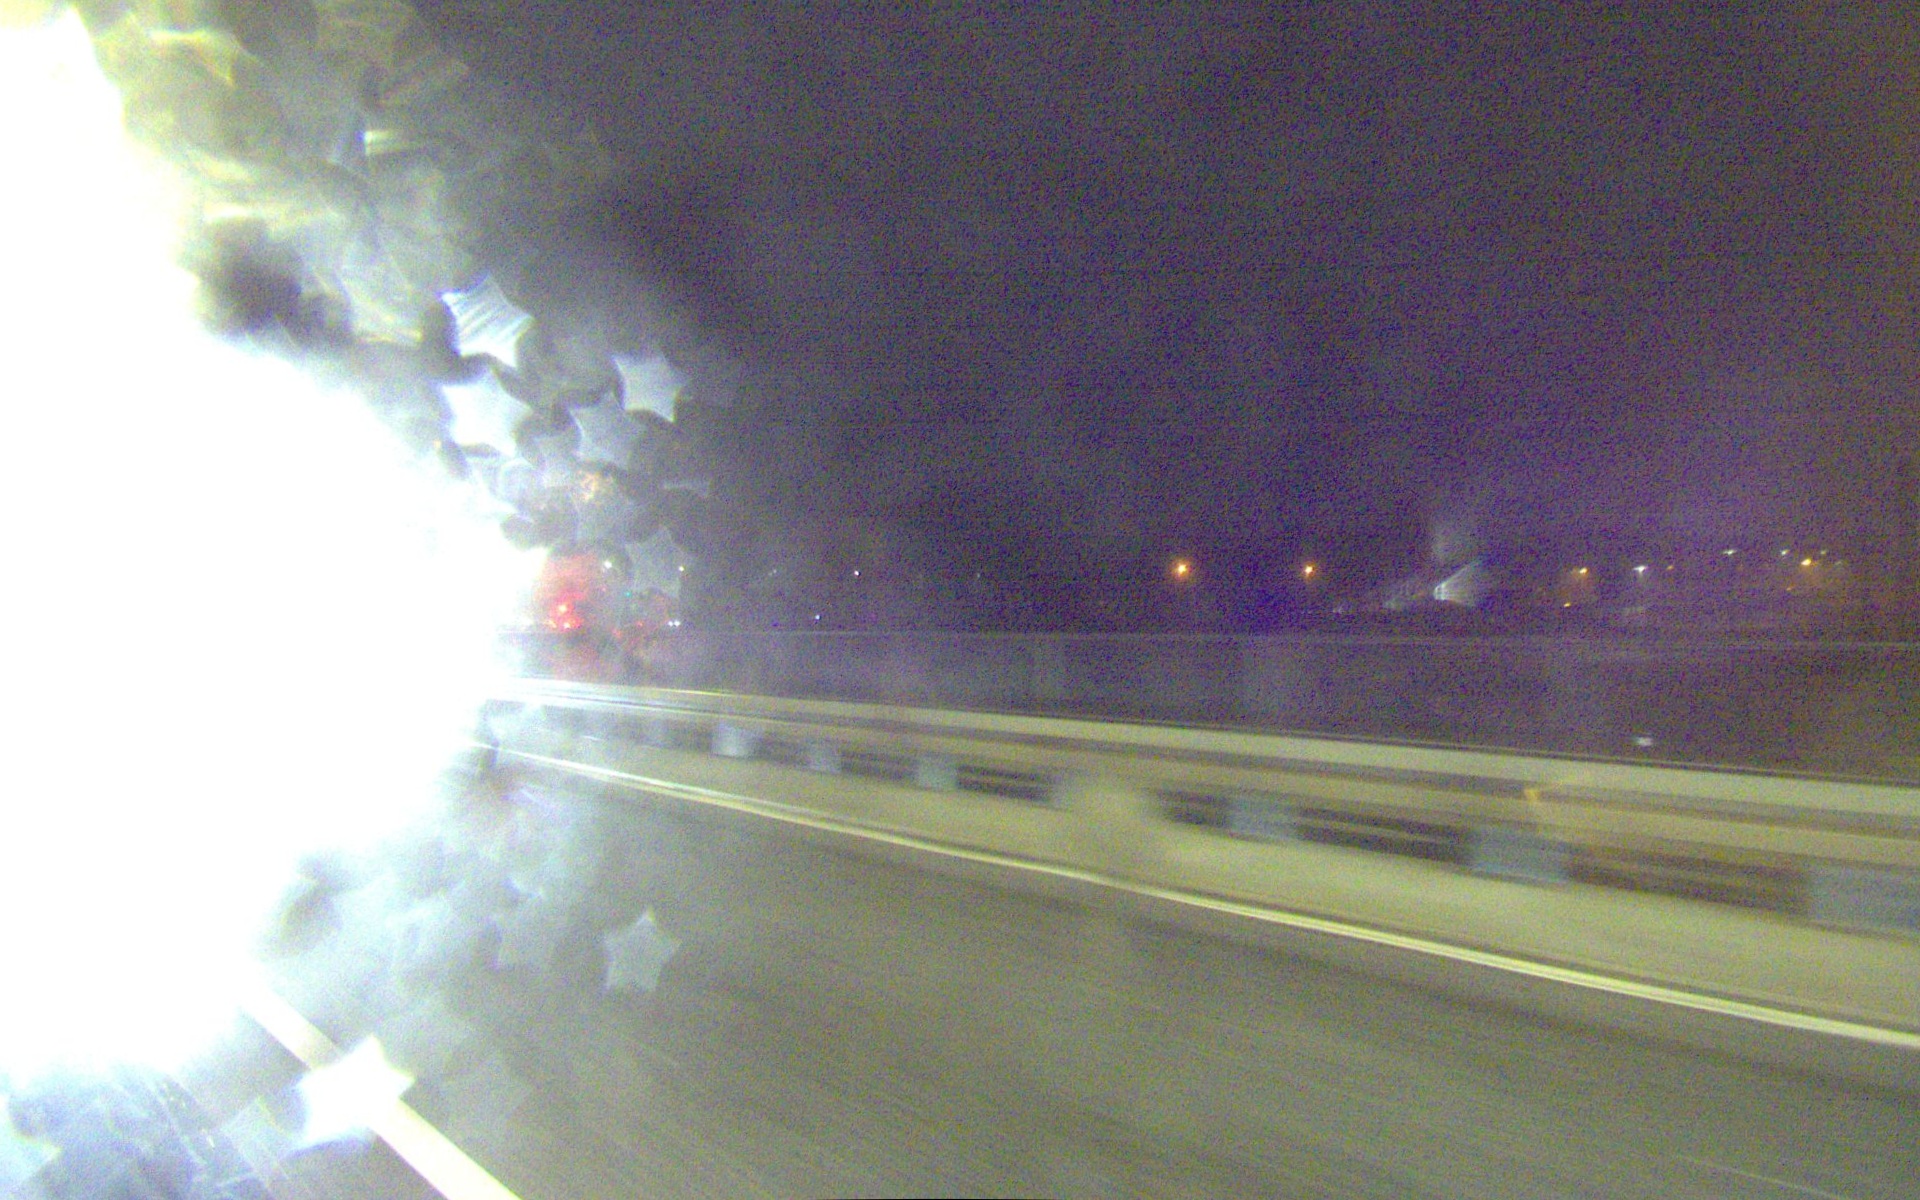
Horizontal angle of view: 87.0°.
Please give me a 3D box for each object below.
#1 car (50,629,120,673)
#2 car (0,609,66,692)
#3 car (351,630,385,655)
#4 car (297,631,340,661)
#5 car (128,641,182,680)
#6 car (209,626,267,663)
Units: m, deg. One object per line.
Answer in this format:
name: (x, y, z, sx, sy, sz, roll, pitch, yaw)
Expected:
car: (-32.658, 1.887, 37.833, 1.498, 1.537, 3.115, 1, -3, -32)
car: (-25.074, 1.282, 26.538, 1.967, 2.029, 4.009, 2, -3, -36)
car: (-54.039, 3.905, 92.473, 1.628, 2.028, 4.012, -8, -1, -18)
car: (-49.504, 3.544, 78.180, 1.629, 2.028, 4.011, -8, -1, -17)
car: (-38.464, 2.853, 48.426, 1.284, 1.540, 3.056, -8, 3, -27)
car: (-44.769, 2.804, 62.823, 1.628, 2.028, 4.012, -8, -1, -18)
